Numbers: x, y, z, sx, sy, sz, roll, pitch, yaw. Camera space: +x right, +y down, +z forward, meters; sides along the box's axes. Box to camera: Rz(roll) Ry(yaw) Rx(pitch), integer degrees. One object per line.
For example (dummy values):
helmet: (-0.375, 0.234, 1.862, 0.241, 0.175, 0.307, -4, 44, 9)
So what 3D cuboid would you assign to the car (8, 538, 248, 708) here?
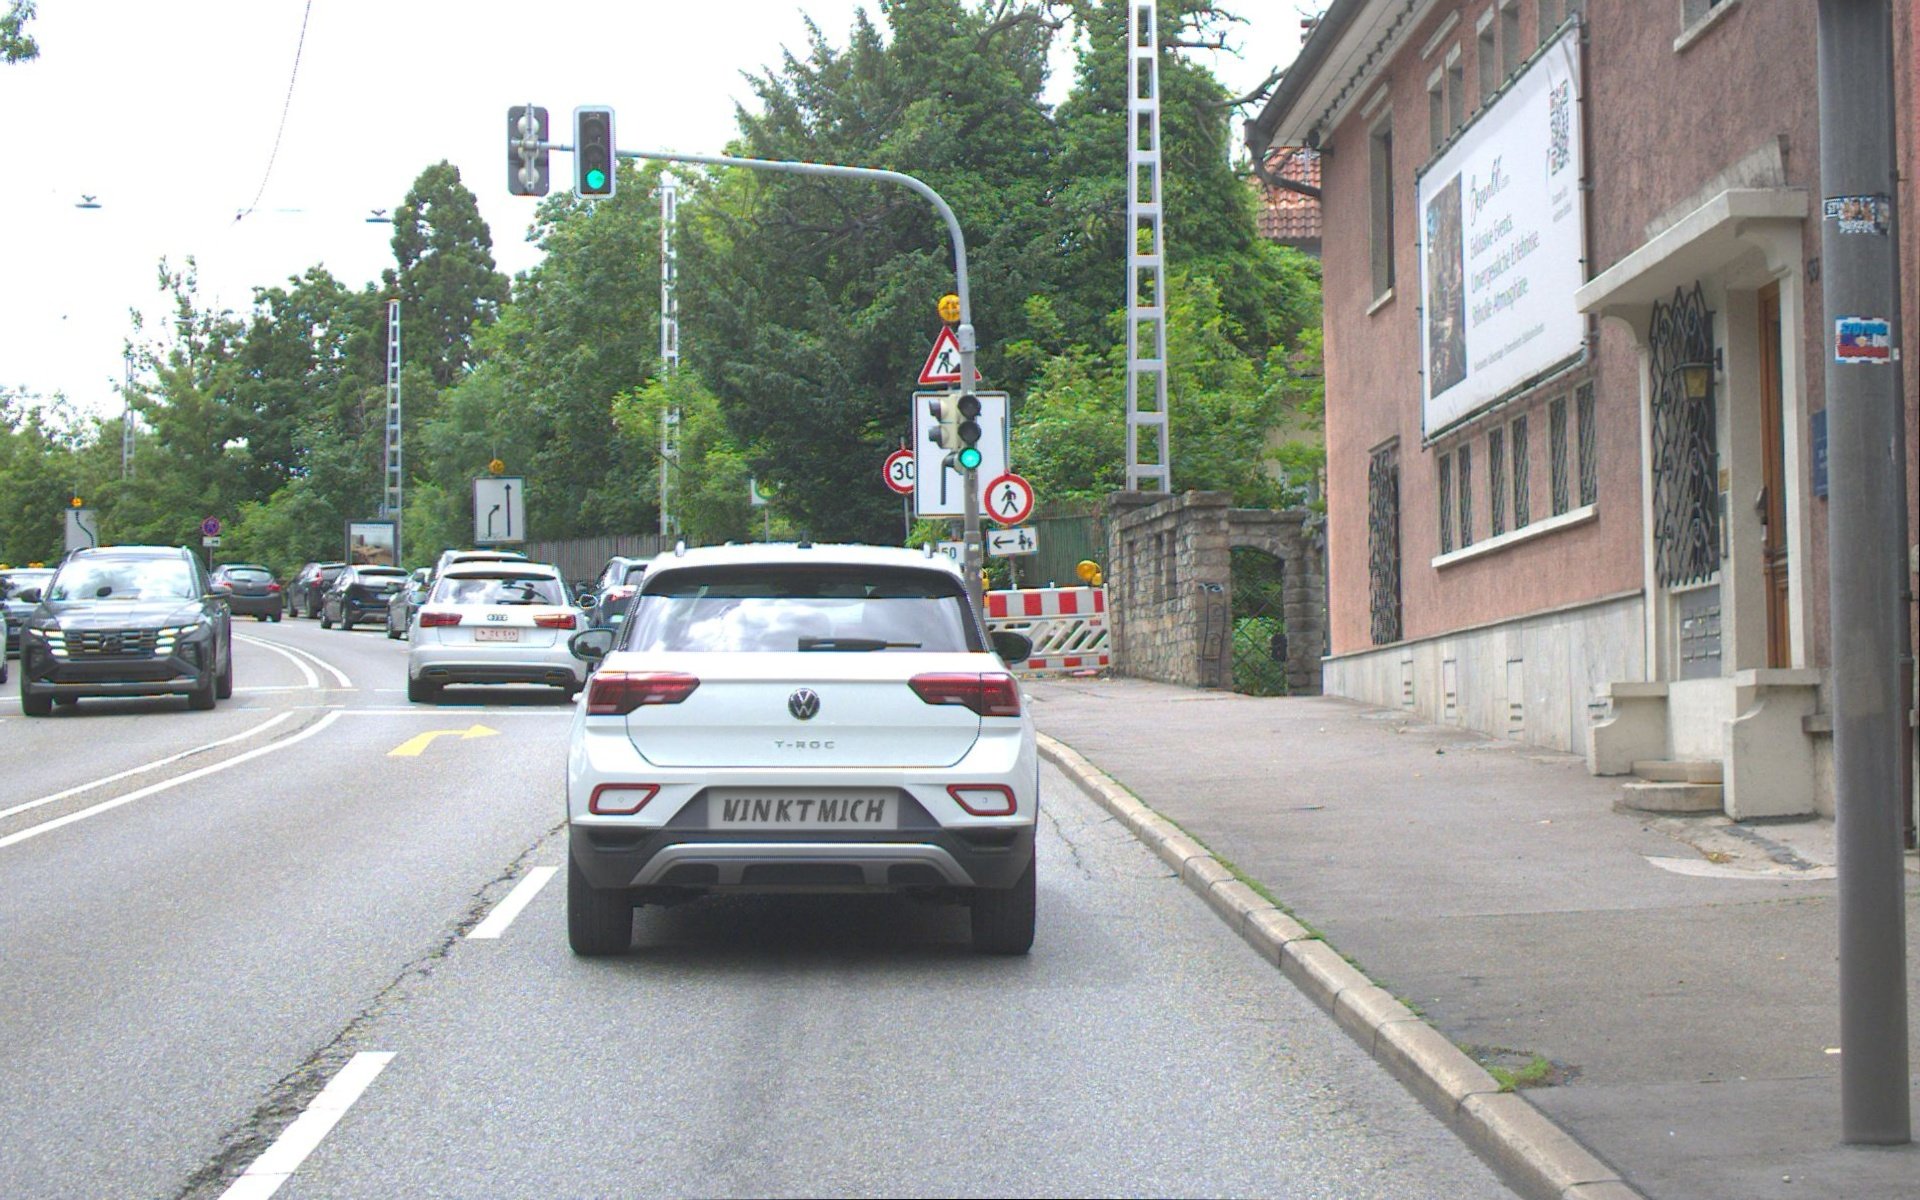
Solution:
car: (-8.507, 0.183, 35.486, 1.848, 1.626, 4.362, 0, 1, -6)

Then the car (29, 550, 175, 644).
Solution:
car: (-14.190, -0.082, 57.043, 1.682, 1.413, 4.429, -1, 1, -6)

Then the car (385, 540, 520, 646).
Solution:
car: (-7.951, -0.143, 53.912, 1.993, 1.551, 4.152, 1, 1, -8)

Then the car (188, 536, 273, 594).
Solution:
car: (-18.917, -0.915, 89.022, 1.780, 1.449, 4.001, 0, 0, -17)

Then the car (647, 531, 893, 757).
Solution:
car: (-1.504, 0.314, 26.979, 1.757, 1.604, 3.796, 1, 0, -4)

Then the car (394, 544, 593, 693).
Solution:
car: (-5.013, 0.174, 36.574, 1.757, 1.466, 3.796, 1, 0, -12)

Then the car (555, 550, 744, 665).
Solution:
car: (-4.121, 0.094, 45.006, 1.993, 1.409, 4.151, -1, 0, -12)

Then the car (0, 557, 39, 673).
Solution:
car: (-12.645, 0.205, 42.440, 1.715, 1.398, 4.024, -1, 1, -4)

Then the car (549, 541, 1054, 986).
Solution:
car: (-0.729, 0.577, 14.115, 1.757, 1.550, 3.796, 1, 0, -5)

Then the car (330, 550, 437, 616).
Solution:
car: (-13.103, -0.384, 77.968, 1.993, 1.445, 4.152, 0, 0, -15)
